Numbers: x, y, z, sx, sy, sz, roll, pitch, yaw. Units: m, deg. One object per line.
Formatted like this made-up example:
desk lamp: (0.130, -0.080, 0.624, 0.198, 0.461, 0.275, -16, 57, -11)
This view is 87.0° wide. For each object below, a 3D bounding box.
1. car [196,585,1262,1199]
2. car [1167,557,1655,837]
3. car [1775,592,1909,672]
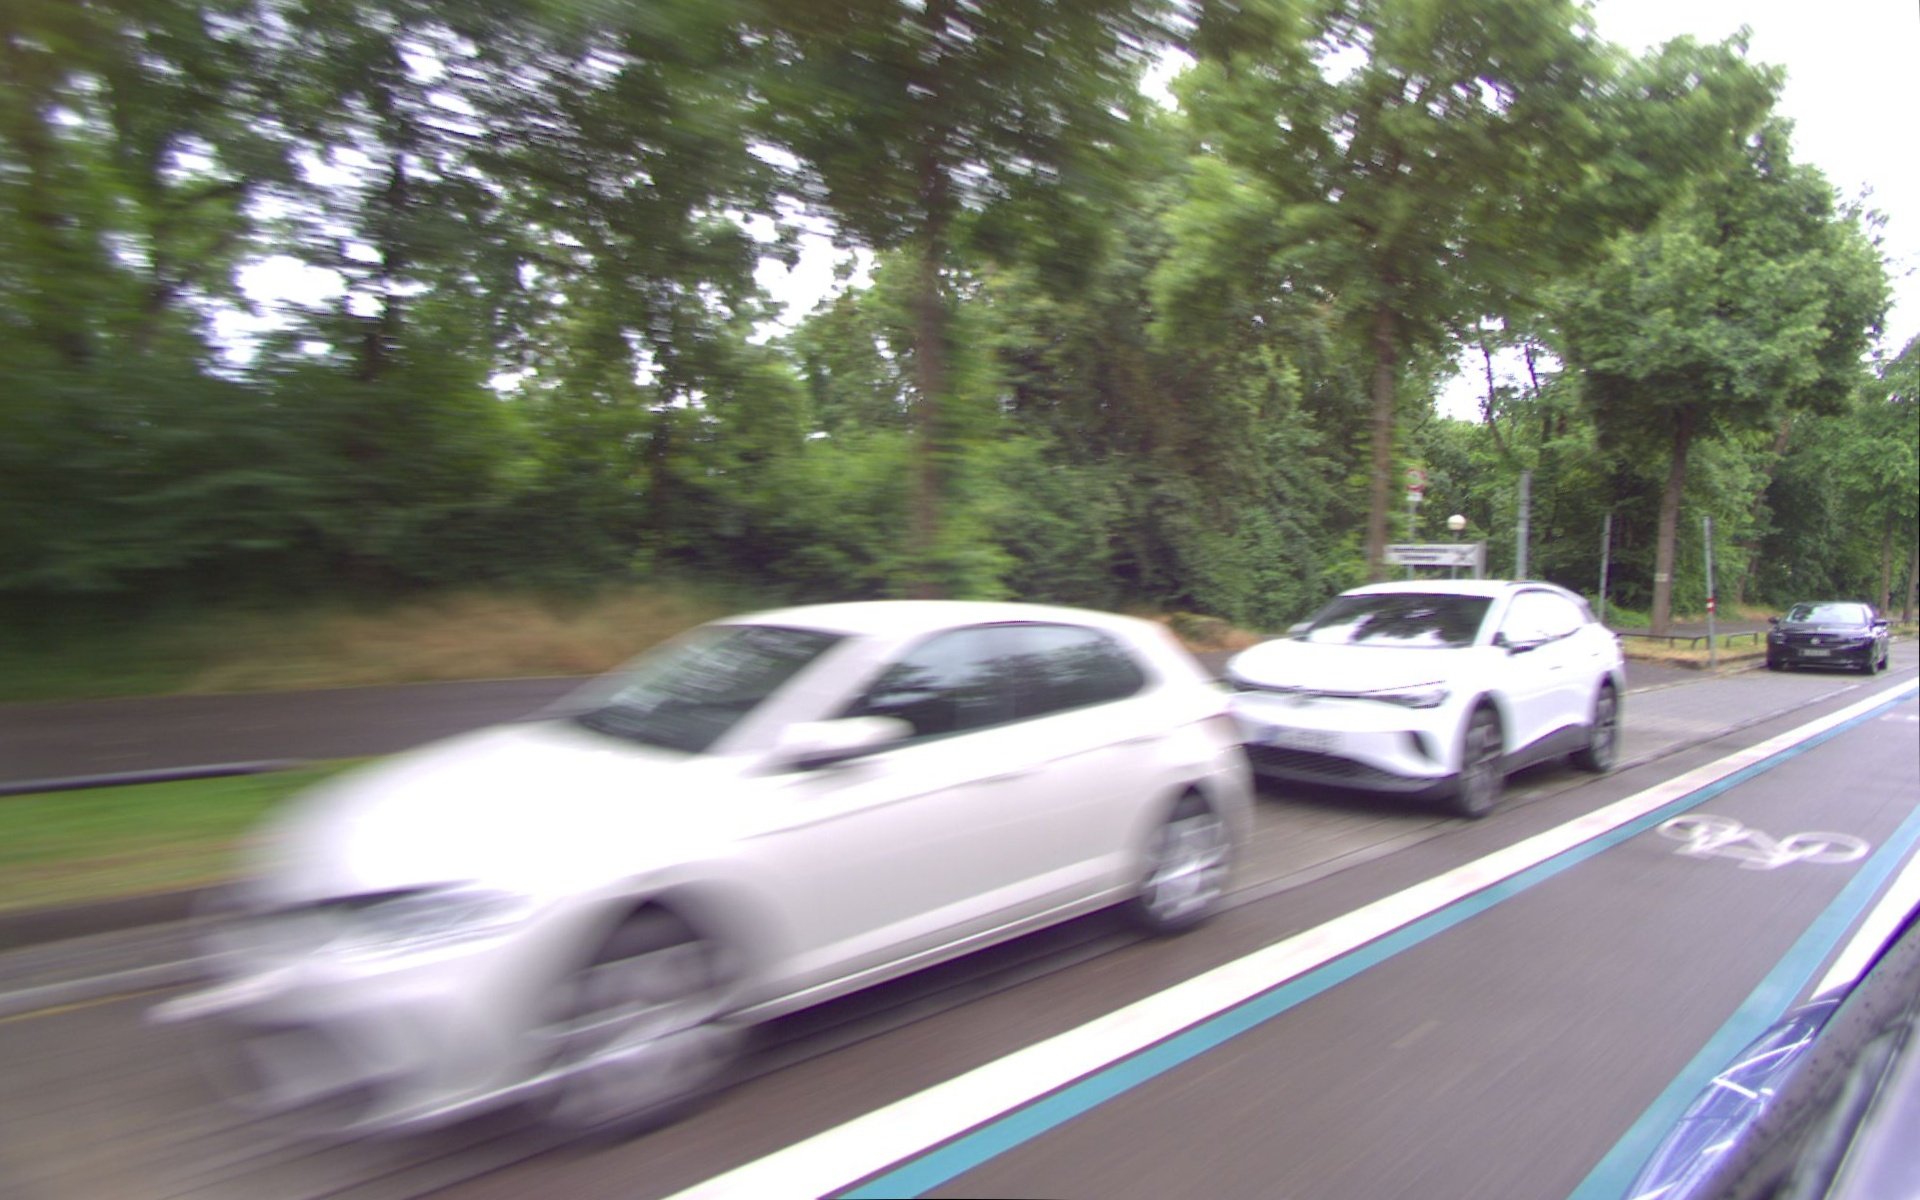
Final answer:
car: (-0.591, 0.691, 4.083, 3.878, 1.472, 1.700, 0, 0, -42)
car: (3.885, 0.551, 8.312, 4.484, 1.682, 1.997, 0, 1, -42)
car: (18.528, 0.603, 21.210, 3.930, 1.495, 1.698, 0, 1, -43)
